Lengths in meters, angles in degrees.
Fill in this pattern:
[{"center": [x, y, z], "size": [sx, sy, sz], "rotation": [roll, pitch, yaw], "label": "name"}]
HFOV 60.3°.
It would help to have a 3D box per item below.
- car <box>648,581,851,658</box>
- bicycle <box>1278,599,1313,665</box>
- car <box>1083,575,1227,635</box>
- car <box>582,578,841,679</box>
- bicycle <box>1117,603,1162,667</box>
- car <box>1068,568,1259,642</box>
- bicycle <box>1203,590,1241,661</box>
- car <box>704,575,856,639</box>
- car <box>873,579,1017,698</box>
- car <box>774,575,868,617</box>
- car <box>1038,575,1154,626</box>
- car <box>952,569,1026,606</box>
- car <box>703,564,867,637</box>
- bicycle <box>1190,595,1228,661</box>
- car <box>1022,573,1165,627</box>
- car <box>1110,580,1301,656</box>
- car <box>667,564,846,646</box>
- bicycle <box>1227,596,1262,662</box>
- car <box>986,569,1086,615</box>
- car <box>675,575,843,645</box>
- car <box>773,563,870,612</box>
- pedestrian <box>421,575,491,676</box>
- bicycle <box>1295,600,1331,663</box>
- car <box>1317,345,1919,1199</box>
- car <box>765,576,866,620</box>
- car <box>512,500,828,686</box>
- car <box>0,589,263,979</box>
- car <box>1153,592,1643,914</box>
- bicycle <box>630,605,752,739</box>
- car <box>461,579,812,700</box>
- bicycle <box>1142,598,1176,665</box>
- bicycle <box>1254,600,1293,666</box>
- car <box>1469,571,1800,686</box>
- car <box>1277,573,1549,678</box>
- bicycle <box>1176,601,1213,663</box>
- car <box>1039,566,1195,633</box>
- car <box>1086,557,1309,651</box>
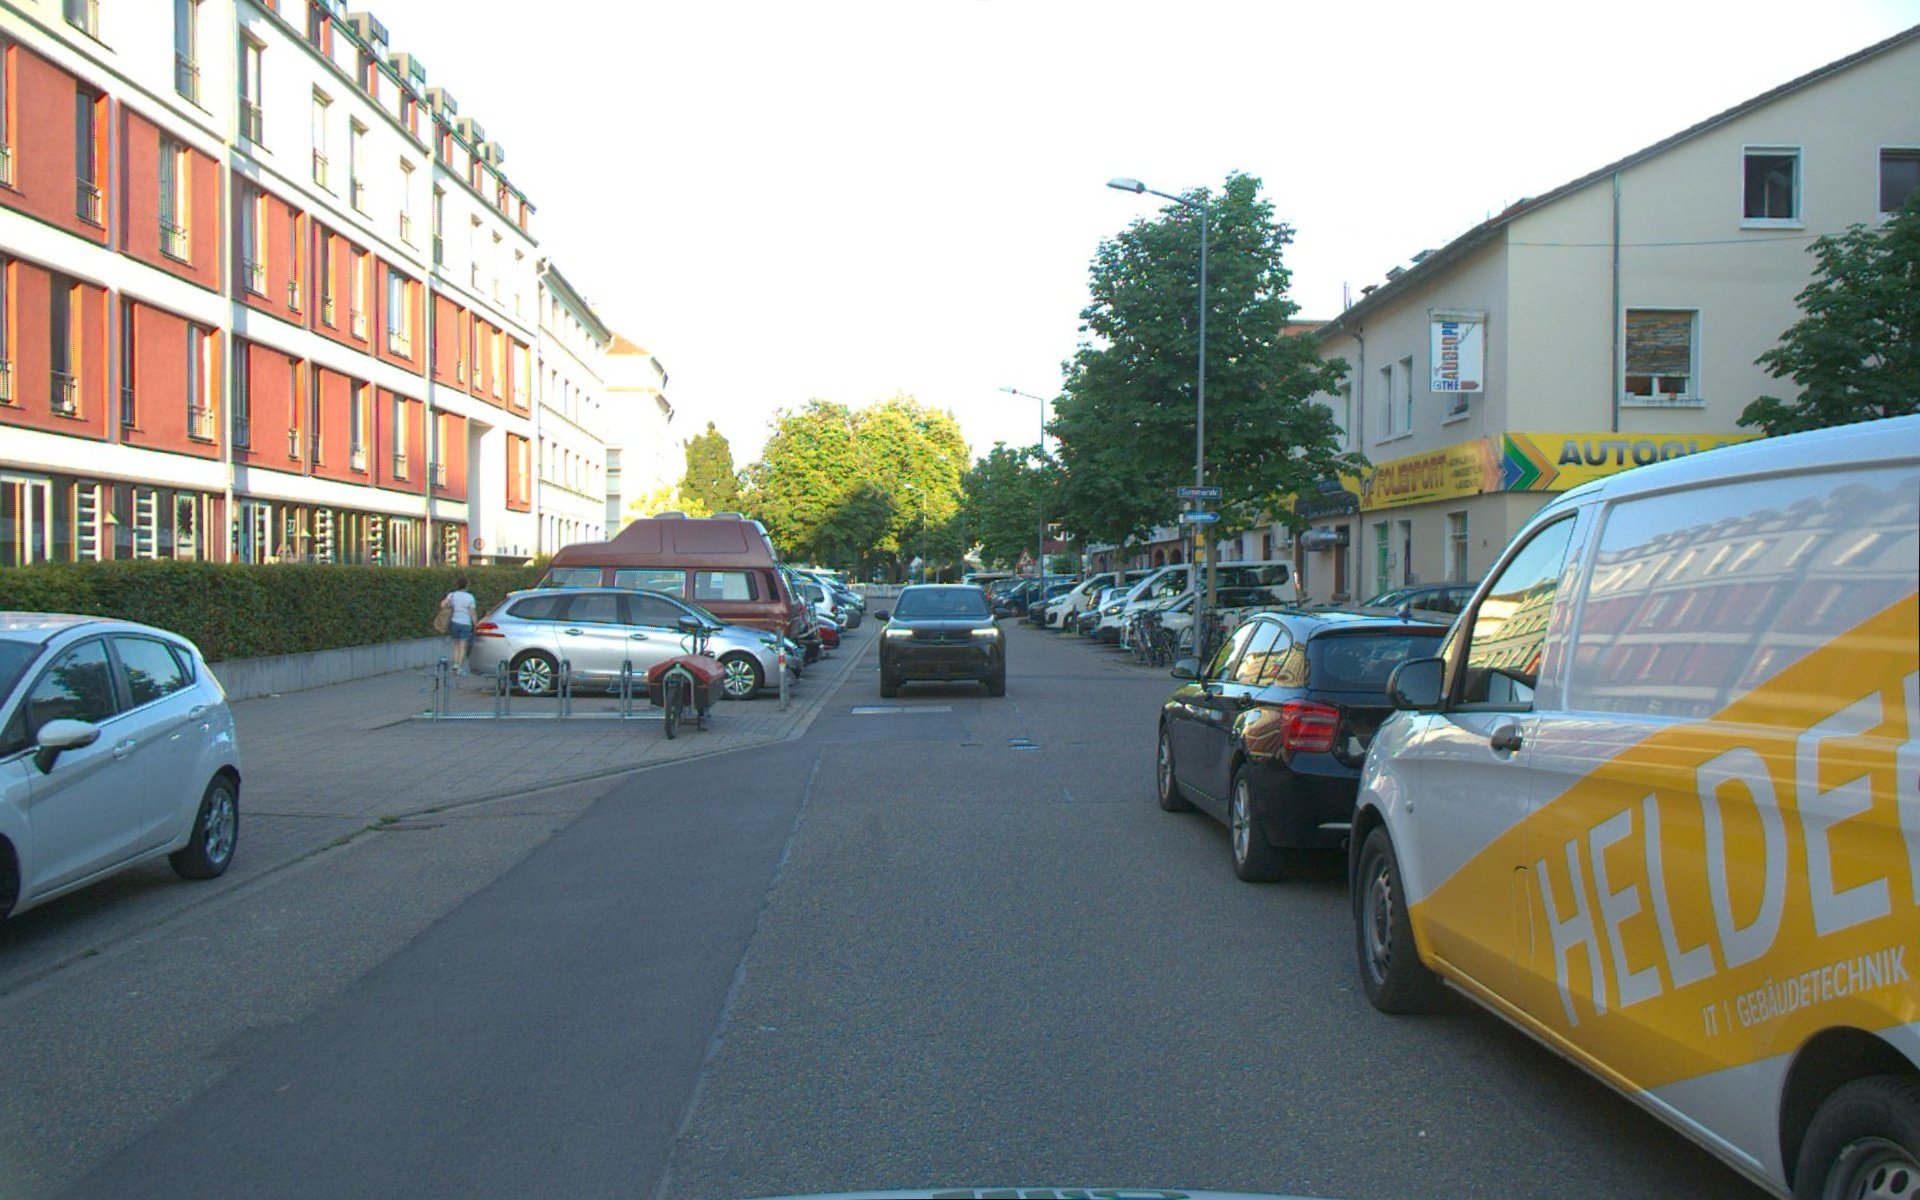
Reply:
[{"center": [-4.471, 0.402, 35.600], "size": [4.123, 1.516, 1.849], "rotation": [2, 1, -1], "label": "car"}, {"center": [6.502, 0.608, 32.099], "size": [0.346, 1.221, 1.481], "rotation": [-1, 1, -1], "label": "bicycle"}, {"center": [5.520, 0.133, 47.167], "size": [3.832, 1.552, 1.939], "rotation": [-2, 1, -1], "label": "car"}, {"center": [-4.130, 0.460, 27.999], "size": [4.125, 1.565, 1.790], "rotation": [1, 1, -3], "label": "car"}, {"center": [3.461, 0.656, 32.016], "size": [0.429, 1.150, 2.014], "rotation": [-1, 1, -6], "label": "bicycle"}, {"center": [5.427, 0.118, 44.532], "size": [4.843, 1.772, 2.049], "rotation": [-2, 1, -1], "label": "car"}, {"center": [5.097, 0.473, 32.266], "size": [0.378, 1.327, 2.017], "rotation": [-1, 1, -1], "label": "bicycle"}, {"center": [-5.150, 0.187, 47.832], "size": [4.170, 1.681, 1.887], "rotation": [2, 1, -2], "label": "car"}, {"center": [-0.129, 0.486, 23.773], "size": [1.742, 1.544, 4.002], "rotation": [-1, 1, 4], "label": "car"}, {"center": [-6.374, -0.203, 76.227], "size": [4.170, 1.780, 2.000], "rotation": [2, 1, -2], "label": "car"}, {"center": [5.261, 0.006, 64.198], "size": [4.231, 1.835, 1.810], "rotation": [-2, 1, -3], "label": "car"}, {"center": [1.592, -0.704, 92.283], "size": [3.892, 1.945, 2.047], "rotation": [-2, 1, -6], "label": "car"}, {"center": [-5.279, 0.010, 50.384], "size": [4.752, 2.056, 1.906], "rotation": [2, 0, -2], "label": "car"}, {"center": [4.841, 0.528, 32.251], "size": [0.378, 1.221, 2.017], "rotation": [-1, 1, -1], "label": "bicycle"}, {"center": [4.756, -0.017, 59.280], "size": [4.846, 1.718, 2.076], "rotation": [-2, 1, -3], "label": "car"}, {"center": [5.355, 0.368, 36.400], "size": [3.841, 1.476, 1.767], "rotation": [-2, 1, -4], "label": "car"}, {"center": [-4.993, 0.106, 41.007], "size": [4.170, 1.868, 2.000], "rotation": [2, 1, -2], "label": "car"}, {"center": [5.513, 0.545, 32.119], "size": [0.378, 1.221, 1.481], "rotation": [-1, 1, -1], "label": "bicycle"}, {"center": [3.526, -0.369, 76.732], "size": [4.393, 1.945, 1.686], "rotation": [-2, 1, -6], "label": "car"}, {"center": [-5.232, 0.256, 43.475], "size": [4.170, 1.689, 2.000], "rotation": [2, 1, -2], "label": "car"}, {"center": [-6.572, -0.611, 78.857], "size": [4.442, 2.171, 2.000], "rotation": [2, 0, -2], "label": "car"}, {"center": [-7.899, 0.389, 25.944], "size": [0.815, 1.527, 0.798], "rotation": [1, 0, -1], "label": "pedestrian"}, {"center": [6.854, 0.594, 32.188], "size": [0.346, 1.163, 1.481], "rotation": [-1, 1, -1], "label": "bicycle"}, {"center": [2.498, 0.519, 4.367], "size": [1.855, 1.917, 5.080], "rotation": [1, 1, -2], "label": "car"}, {"center": [-6.213, -0.089, 71.459], "size": [4.170, 1.744, 2.000], "rotation": [2, 1, -2], "label": "car"}, {"center": [-4.363, -0.121, 25.420], "size": [4.419, 2.629, 2.000], "rotation": [2, 0, 0], "label": "car"}, {"center": [-4.788, 0.748, 7.689], "size": [1.618, 1.557, 4.014], "rotation": [1, 1, -4], "label": "car"}, {"center": [2.315, 0.712, 9.913], "size": [1.686, 1.449, 4.252], "rotation": [1, 1, -2], "label": "car"}, {"center": [-2.810, 0.709, 17.586], "size": [0.791, 1.242, 2.865], "rotation": [1, 1, 0], "label": "bicycle"}, {"center": [-4.344, 0.520, 22.847], "size": [4.525, 1.485, 1.879], "rotation": [1, 1, -5], "label": "car"}, {"center": [3.866, 0.596, 32.211], "size": [0.378, 1.221, 2.017], "rotation": [-1, 1, -1], "label": "bicycle"}, {"center": [6.081, 0.624, 32.100], "size": [0.436, 1.221, 1.481], "rotation": [-1, 1, -1], "label": "bicycle"}, {"center": [9.091, 0.367, 22.510], "size": [3.847, 1.480, 1.658], "rotation": [0, 1, 2], "label": "car"}, {"center": [7.355, 0.392, 27.087], "size": [3.968, 1.540, 1.756], "rotation": [-1, 2, -1], "label": "car"}, {"center": [4.562, 0.608, 32.259], "size": [0.378, 1.133, 2.017], "rotation": [-1, 1, -1], "label": "bicycle"}, {"center": [5.123, -0.033, 54.464], "size": [4.846, 1.992, 2.048], "rotation": [-2, 1, -3], "label": "car"}, {"center": [5.559, 0.077, 39.189], "size": [4.888, 2.018, 2.219], "rotation": [-2, 1, -1], "label": "car"}]
